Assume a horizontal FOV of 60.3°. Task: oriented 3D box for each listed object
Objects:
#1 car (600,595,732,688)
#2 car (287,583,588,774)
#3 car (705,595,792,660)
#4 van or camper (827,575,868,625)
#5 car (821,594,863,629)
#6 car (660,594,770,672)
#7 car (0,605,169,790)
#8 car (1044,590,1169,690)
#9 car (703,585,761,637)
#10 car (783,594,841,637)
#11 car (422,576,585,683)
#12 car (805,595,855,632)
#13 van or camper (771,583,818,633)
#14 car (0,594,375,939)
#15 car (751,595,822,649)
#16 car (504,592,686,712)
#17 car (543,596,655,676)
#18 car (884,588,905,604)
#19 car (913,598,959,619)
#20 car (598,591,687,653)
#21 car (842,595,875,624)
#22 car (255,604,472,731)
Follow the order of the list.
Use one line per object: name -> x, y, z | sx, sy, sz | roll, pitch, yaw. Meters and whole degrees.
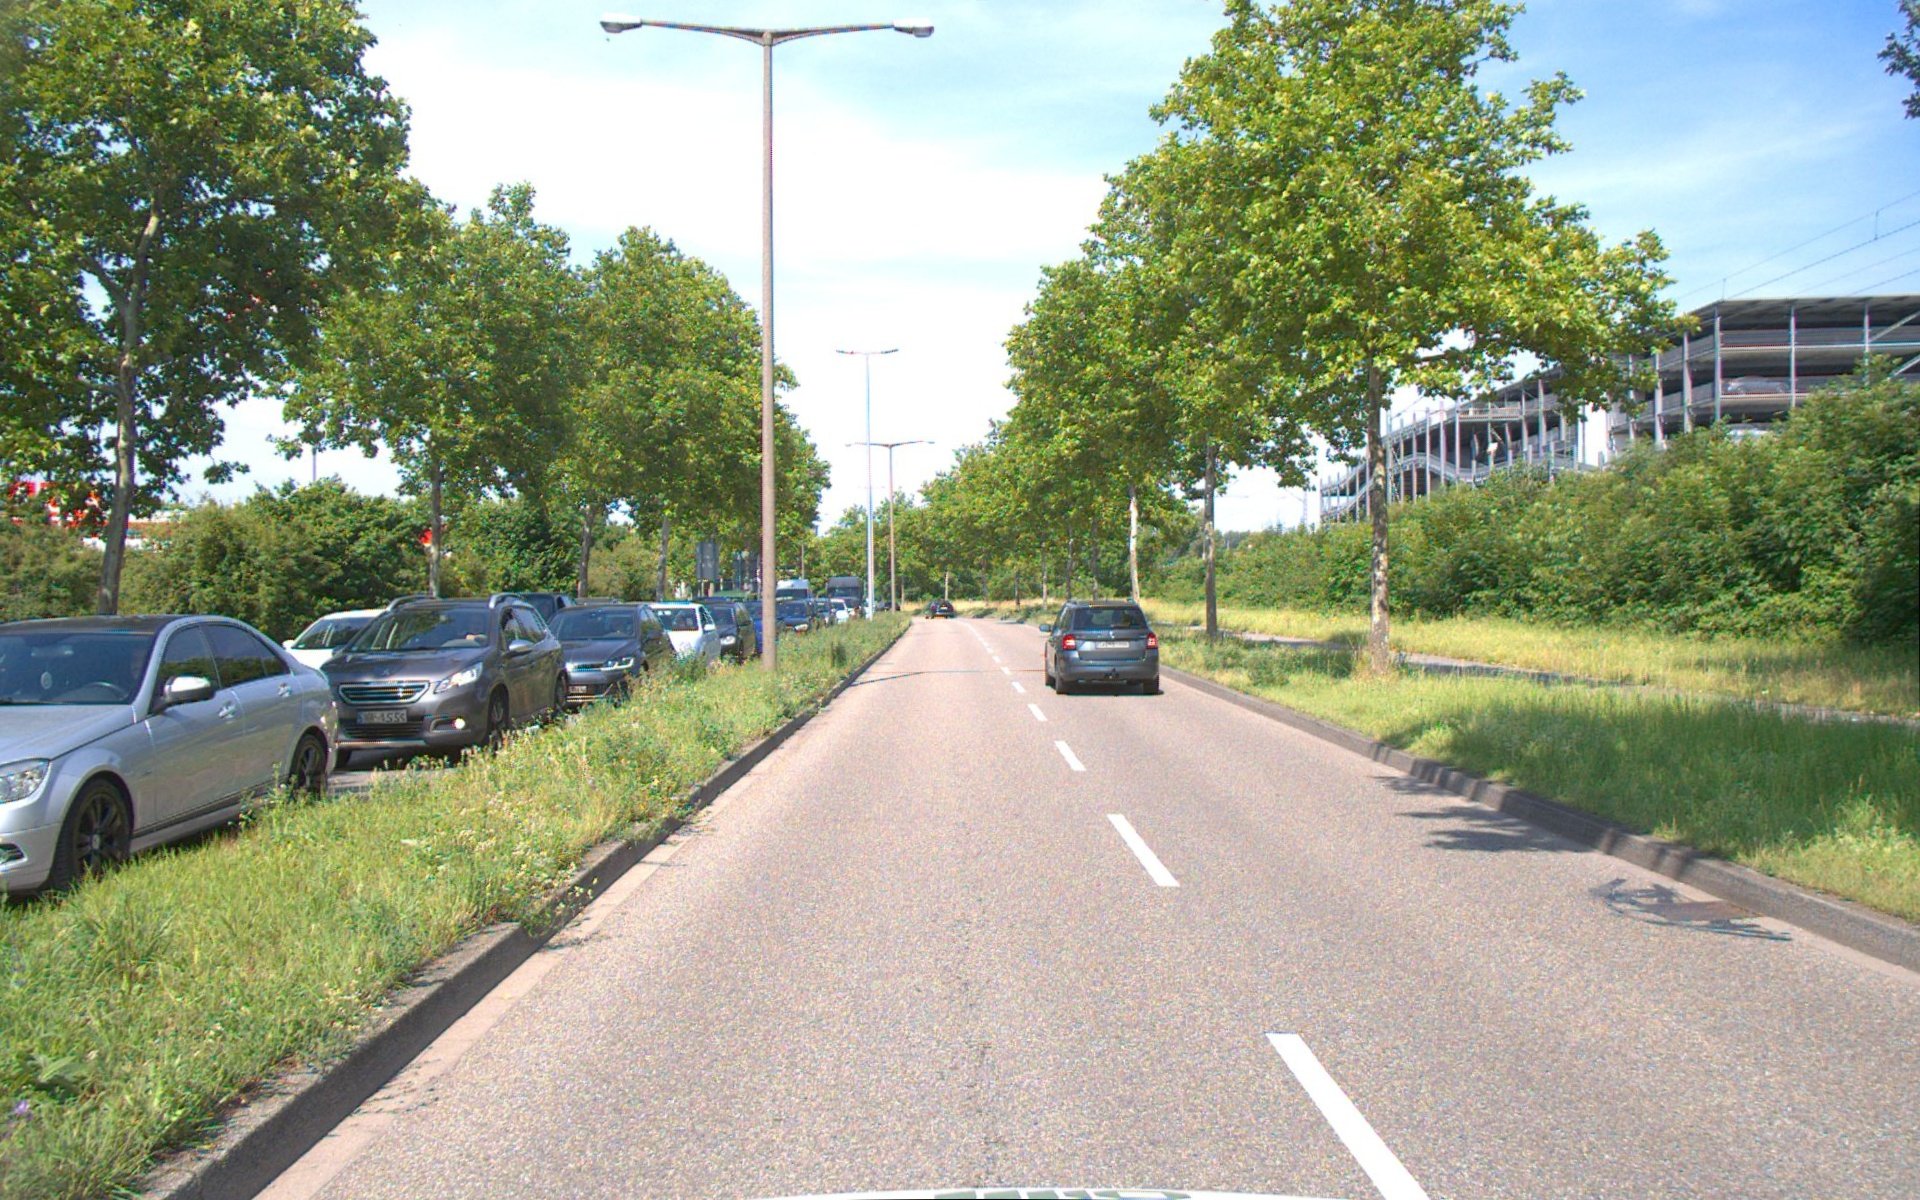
car -> -5.156, 0.688, 29.419 | 1.654, 1.497, 3.814 | -1, 0, -1
car -> -5.002, 0.664, 16.449 | 1.654, 1.614, 4.239 | -1, 0, -1
car -> -5.359, 0.667, 42.338 | 1.748, 1.515, 4.210 | -1, 0, -2
van or camper -> -5.765, 0.020, 85.178 | 1.899, 2.410, 5.395 | -1, 0, -2
car -> -5.389, 0.506, 76.035 | 1.654, 1.537, 3.814 | -1, 0, -1
car -> -5.347, 0.672, 36.606 | 1.722, 1.556, 4.827 | -2, 0, -1
car -> -8.628, 0.839, 14.621 | 1.533, 1.477, 3.544 | -3, 0, -1
car -> 2.332, 0.596, 27.172 | 1.640, 1.478, 4.036 | 1, 0, 0
car -> -8.711, 0.414, 63.353 | 1.654, 1.891, 4.036 | -1, 0, -1
car -> -5.636, 0.559, 63.545 | 1.776, 1.556, 4.641 | -1, 0, 0
car -> -8.219, 0.521, 30.194 | 1.785, 1.767, 4.766 | -1, -1, -2
car -> -5.439, 0.551, 69.604 | 1.747, 1.484, 4.471 | -1, 0, -1
van or camper -> -9.031, 0.410, 90.712 | 1.974, 2.633, 5.516 | -1, 0, -1
car -> -5.046, 0.742, 9.475 | 1.760, 1.493, 4.522 | -1, 0, 0
car -> -5.239, 0.632, 50.336 | 1.786, 1.491, 4.449 | -1, 0, -2
car -> -5.123, 0.670, 23.738 | 1.654, 1.499, 4.217 | -2, 0, -1
car -> -8.264, 0.784, 38.189 | 1.654, 1.675, 4.177 | -1, 0, -1
car -> -6.066, -0.358, 152.740 | 1.870, 1.489, 4.578 | -1, 0, -4
car -> -1.883, 0.647, 128.285 | 1.884, 1.488, 4.585 | 0, 1, -25
car -> -8.509, 0.562, 44.615 | 1.654, 1.556, 3.938 | -1, 0, -1
car -> -5.674, 0.537, 92.700 | 1.654, 1.557, 3.814 | -1, -1, -1
car -> -8.365, 0.882, 23.582 | 1.655, 1.556, 4.083 | -2, 0, -2
